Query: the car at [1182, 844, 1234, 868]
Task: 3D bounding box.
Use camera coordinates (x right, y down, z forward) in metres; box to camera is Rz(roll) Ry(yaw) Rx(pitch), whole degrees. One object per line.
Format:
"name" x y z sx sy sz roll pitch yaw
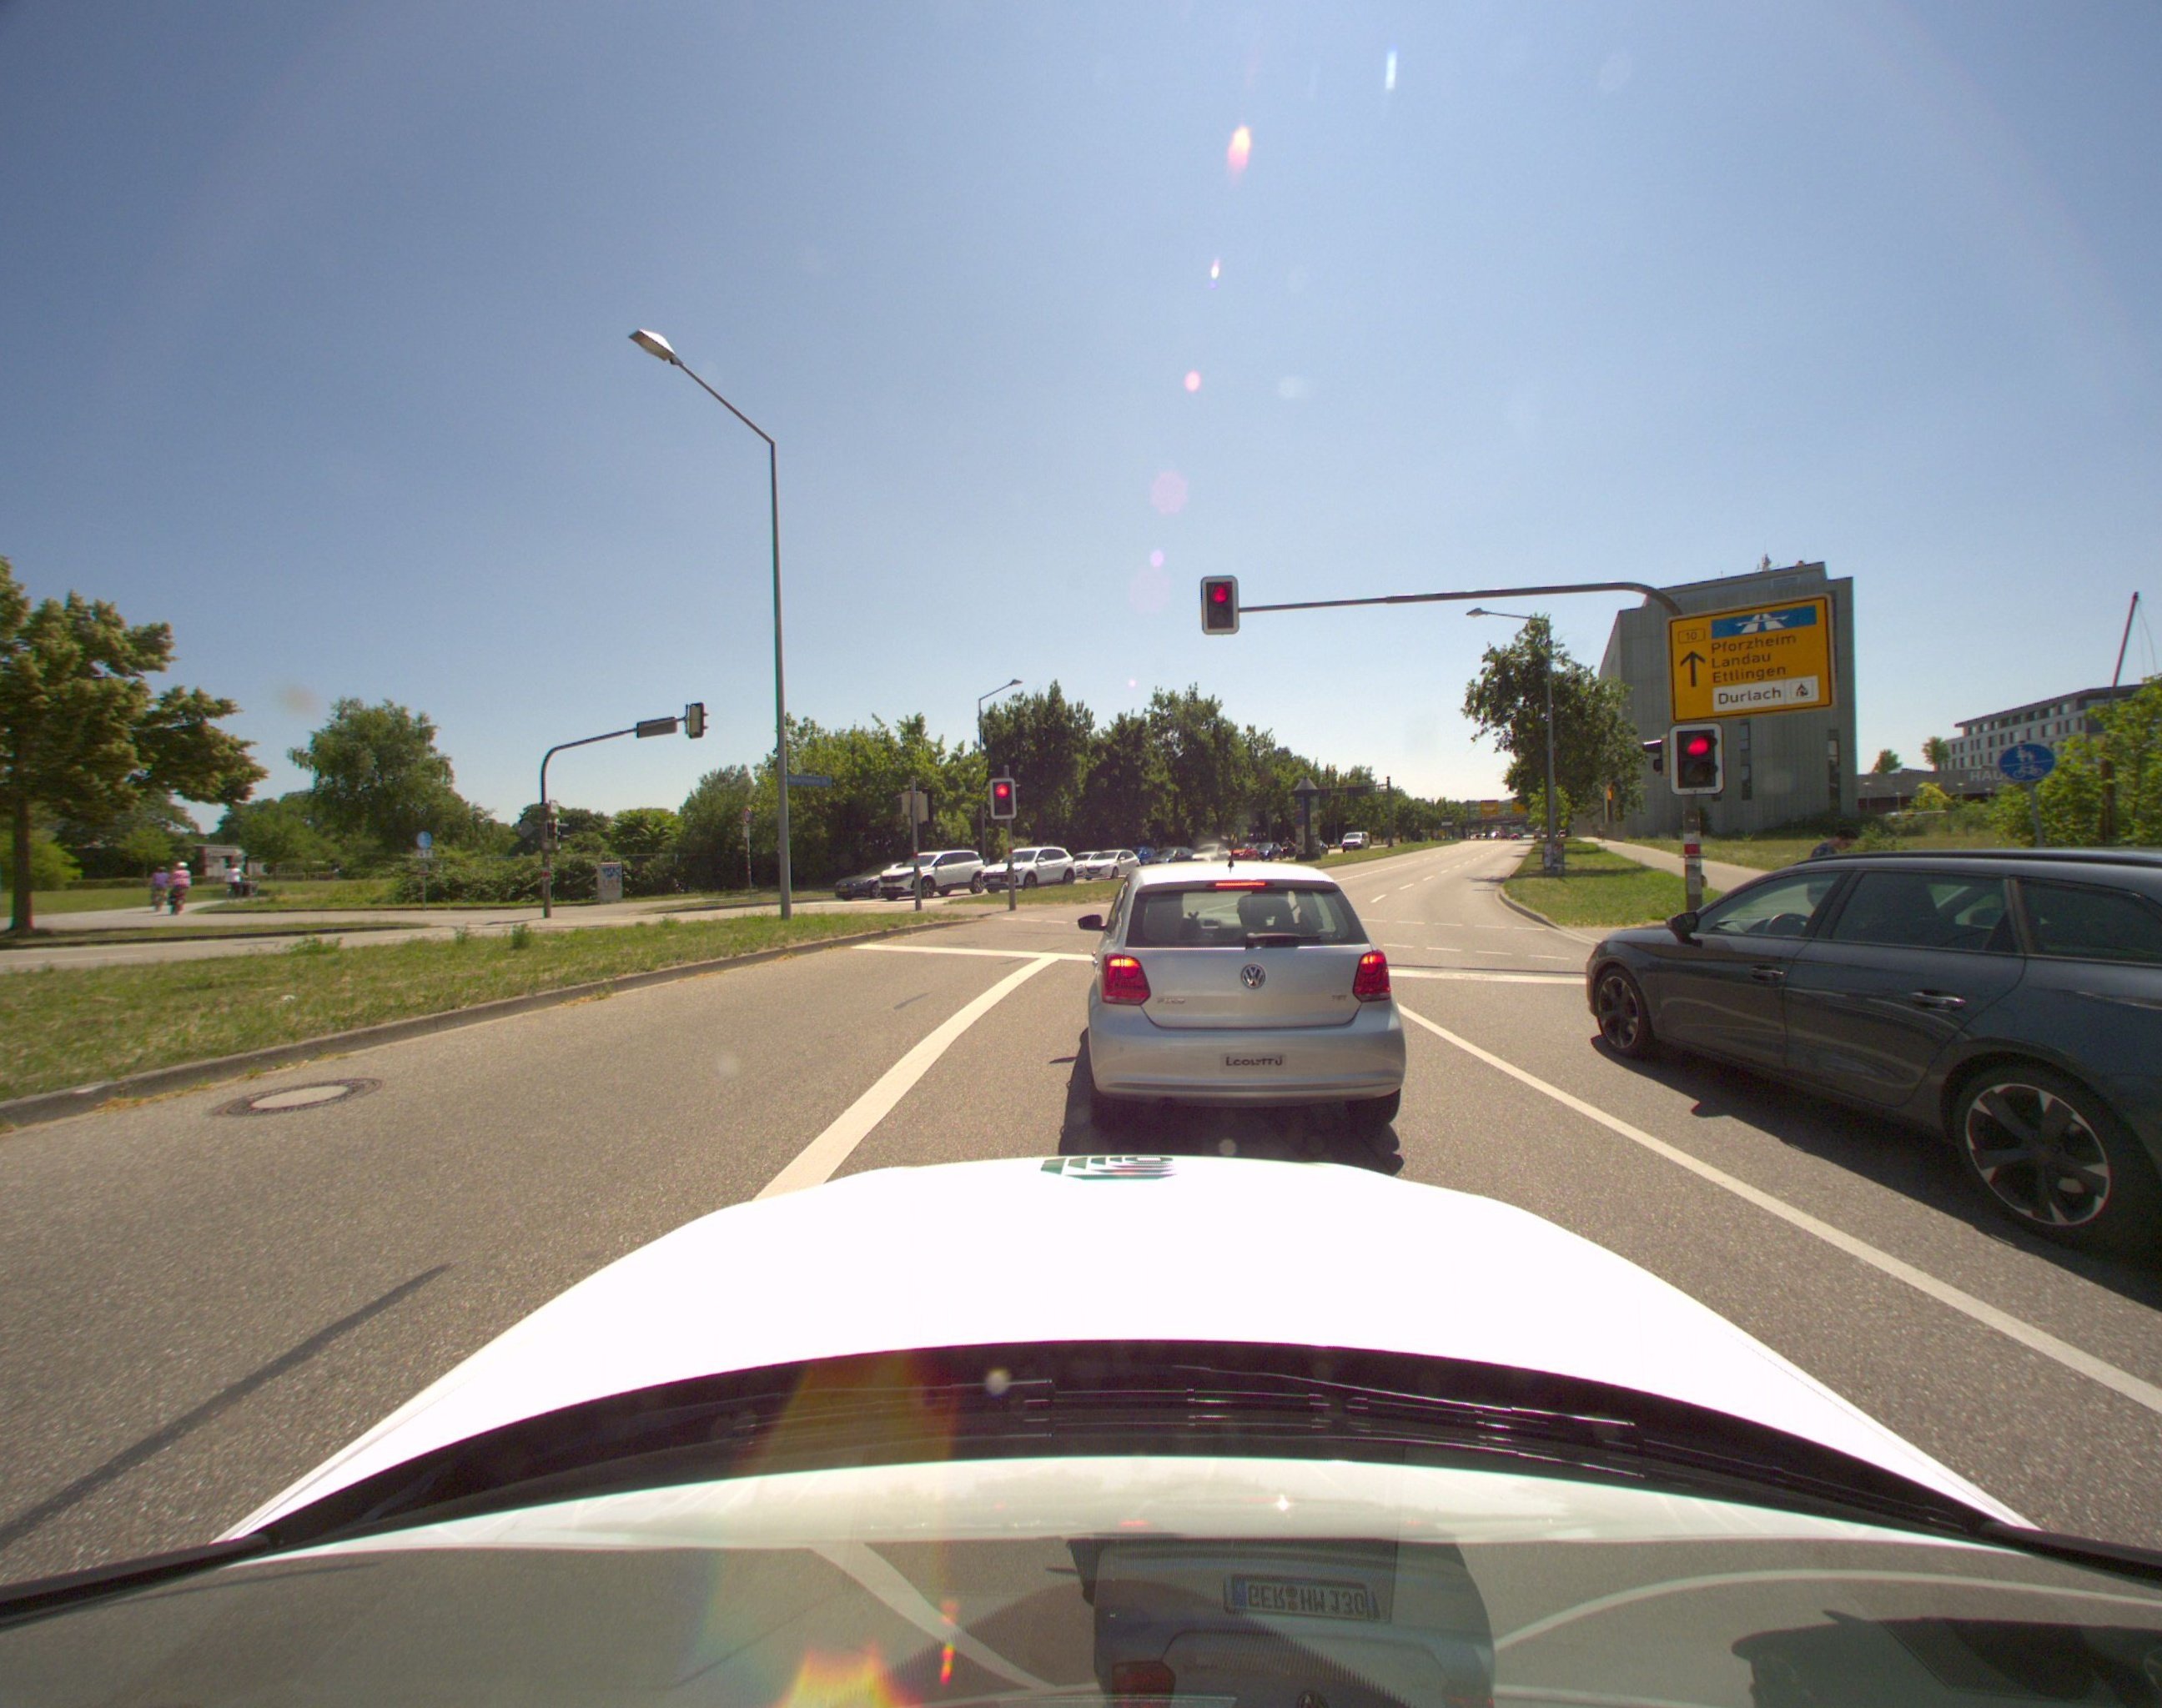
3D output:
"car" 8.423 0.095 53.622 1.840 1.422 4.436 -2 0 31

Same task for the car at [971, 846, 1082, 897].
"car" -1.920 0.591 30.093 1.840 1.683 4.436 -2 0 31

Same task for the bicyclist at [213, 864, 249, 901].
"bicyclist" -38.607 1.282 36.995 0.757 1.614 0.970 -2 -1 -23

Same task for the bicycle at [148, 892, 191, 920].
"bicycle" -32.419 1.839 28.990 2.198 0.900 0.904 -3 -2 44

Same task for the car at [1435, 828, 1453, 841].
"car" 52.219 -2.795 117.116 1.783 1.692 4.168 -3 -1 31

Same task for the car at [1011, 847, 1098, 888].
"car" -1.141 0.593 37.547 1.840 1.683 4.436 -2 0 31

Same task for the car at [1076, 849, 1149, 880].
"car" 1.713 0.517 42.112 1.840 1.422 4.436 -2 0 31

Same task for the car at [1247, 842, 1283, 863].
"car" 14.489 -0.129 64.084 1.699 1.475 3.821 -3 -1 29

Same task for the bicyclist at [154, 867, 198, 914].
"bicyclist" -32.302 1.301 29.089 1.171 1.610 0.966 -3 -1 44

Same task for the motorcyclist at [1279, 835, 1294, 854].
"motorcyclist" 17.446 -0.831 69.092 0.897 1.586 1.016 -3 -1 32

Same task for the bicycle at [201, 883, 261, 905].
"bicycle" -38.546 1.806 36.979 0.741 0.912 2.907 -2 -1 -22

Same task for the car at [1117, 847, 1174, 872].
"car" 4.185 0.332 52.224 1.840 1.422 4.436 -2 0 31

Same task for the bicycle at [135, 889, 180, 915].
"bicycle" -35.739 1.844 31.531 0.903 0.900 1.742 0 0 -40

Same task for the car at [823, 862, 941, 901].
"car" -7.690 1.025 31.896 1.840 1.270 4.436 -2 0 31

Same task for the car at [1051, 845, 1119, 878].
"car" 0.290 0.406 46.274 1.840 1.683 4.436 -2 0 31

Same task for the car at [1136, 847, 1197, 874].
"car" 5.098 0.345 47.809 1.840 1.422 4.436 -2 0 31

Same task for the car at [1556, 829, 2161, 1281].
"car" 4.558 0.608 4.109 1.984 1.418 4.461 -2 1 4

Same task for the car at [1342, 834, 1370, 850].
"car" 26.717 -1.183 79.177 1.845 1.554 4.025 -1 1 29

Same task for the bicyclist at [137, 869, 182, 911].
"bicyclist" -35.782 1.394 31.631 0.965 1.531 1.172 -2 1 -41

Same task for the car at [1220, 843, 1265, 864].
"car" 11.940 -0.078 59.949 1.840 1.422 4.436 -2 0 31

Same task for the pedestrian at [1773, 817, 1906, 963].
"pedestrian" 8.974 0.418 9.681 0.944 1.637 0.762 -3 -1 31

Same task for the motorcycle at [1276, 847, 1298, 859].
"motorcycle" 17.531 -0.123 69.153 0.886 0.952 2.834 -3 -1 33

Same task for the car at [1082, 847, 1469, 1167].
"car" 0.941 0.699 5.799 1.770 1.422 4.001 -2 1 1

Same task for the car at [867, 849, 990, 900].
"car" -5.373 0.701 29.298 1.840 1.618 4.436 -2 0 31
